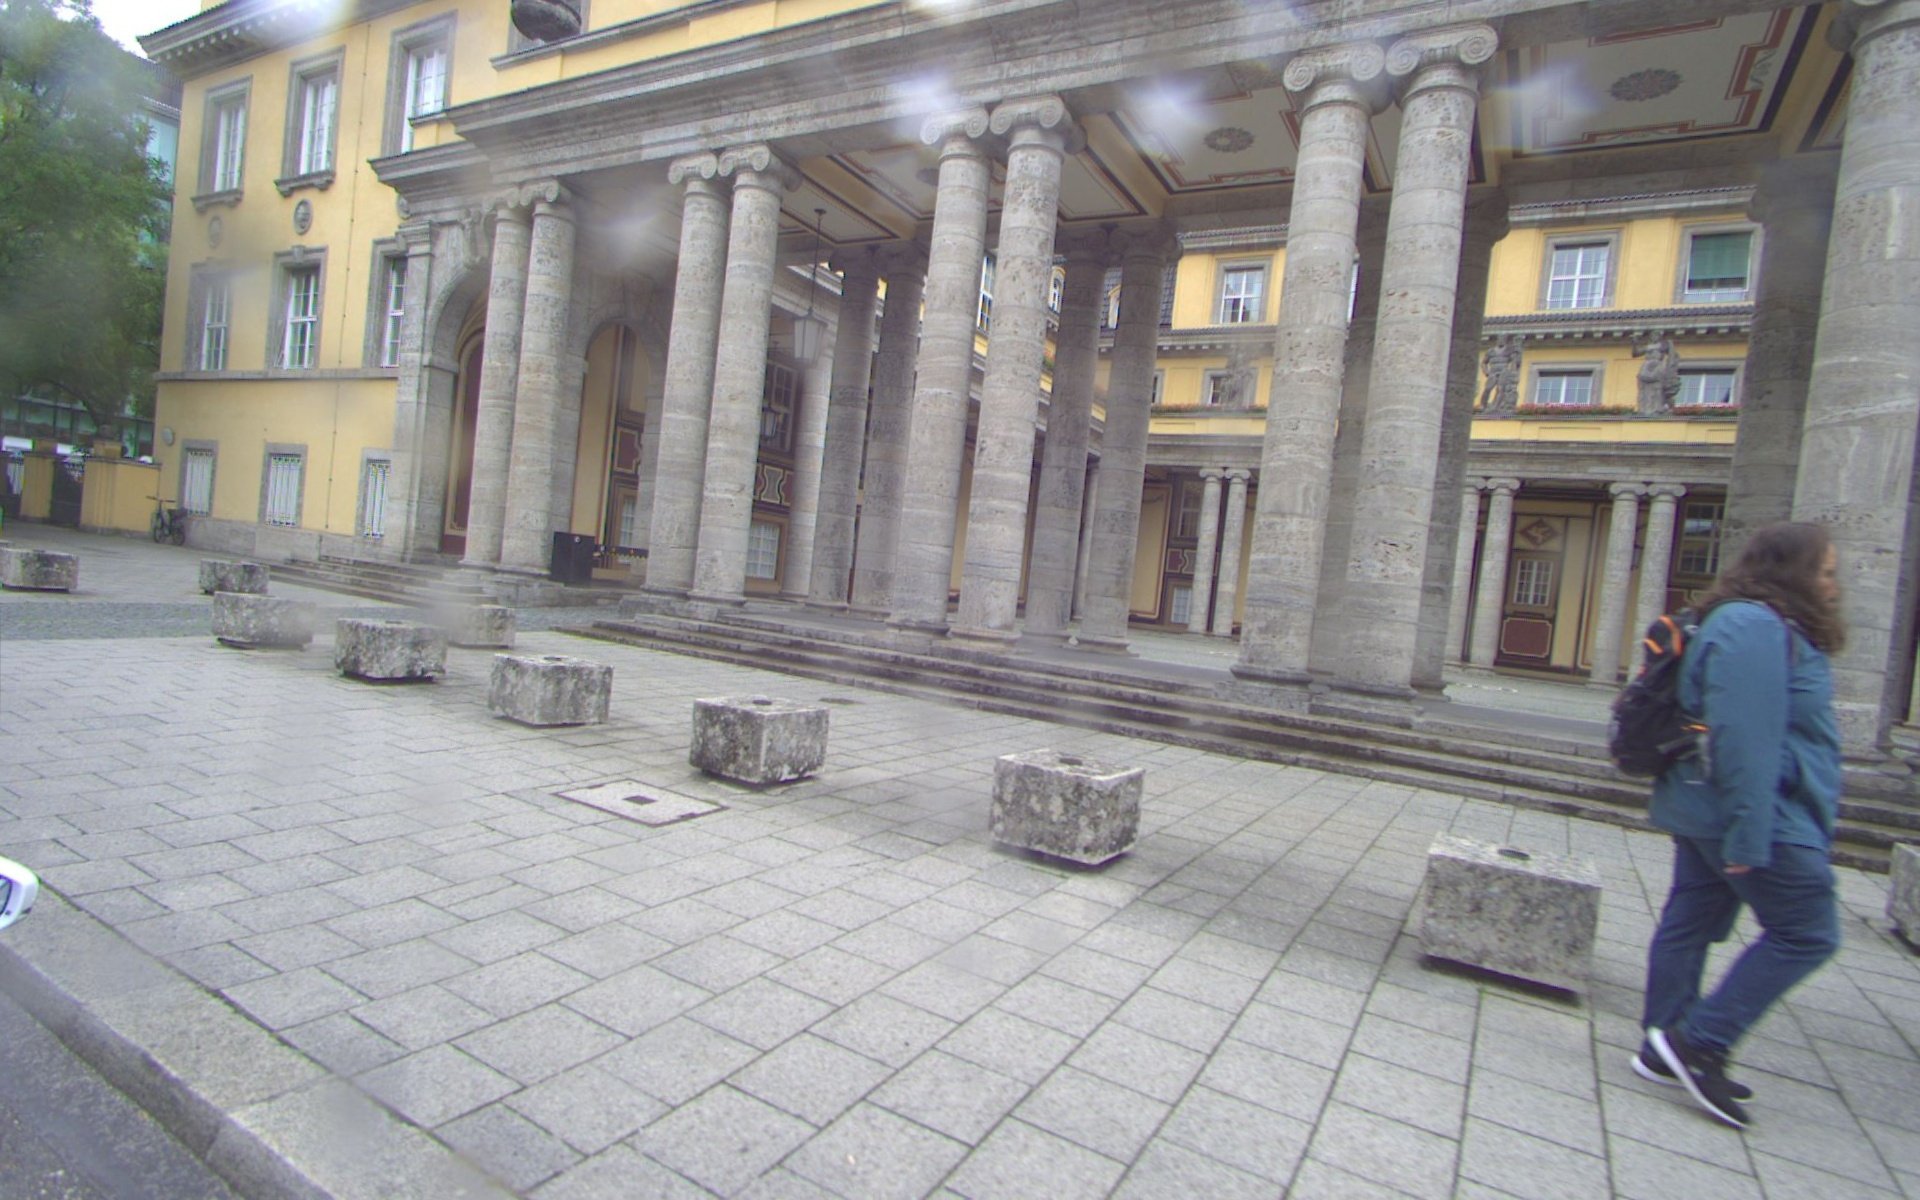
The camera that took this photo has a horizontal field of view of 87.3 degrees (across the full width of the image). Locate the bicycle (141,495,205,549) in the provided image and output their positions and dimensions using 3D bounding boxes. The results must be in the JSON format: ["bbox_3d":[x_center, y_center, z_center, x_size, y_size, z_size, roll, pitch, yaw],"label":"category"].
[{"bbox_3d":[-20.060,-1.992,25.631,1.869,1.169,0.542,8,3,29],"label":"bicycle"}]

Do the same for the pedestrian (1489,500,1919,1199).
[{"bbox_3d":[2.321,0.653,3.075,1.038,1.769,0.788,7,3,30],"label":"pedestrian"}]
